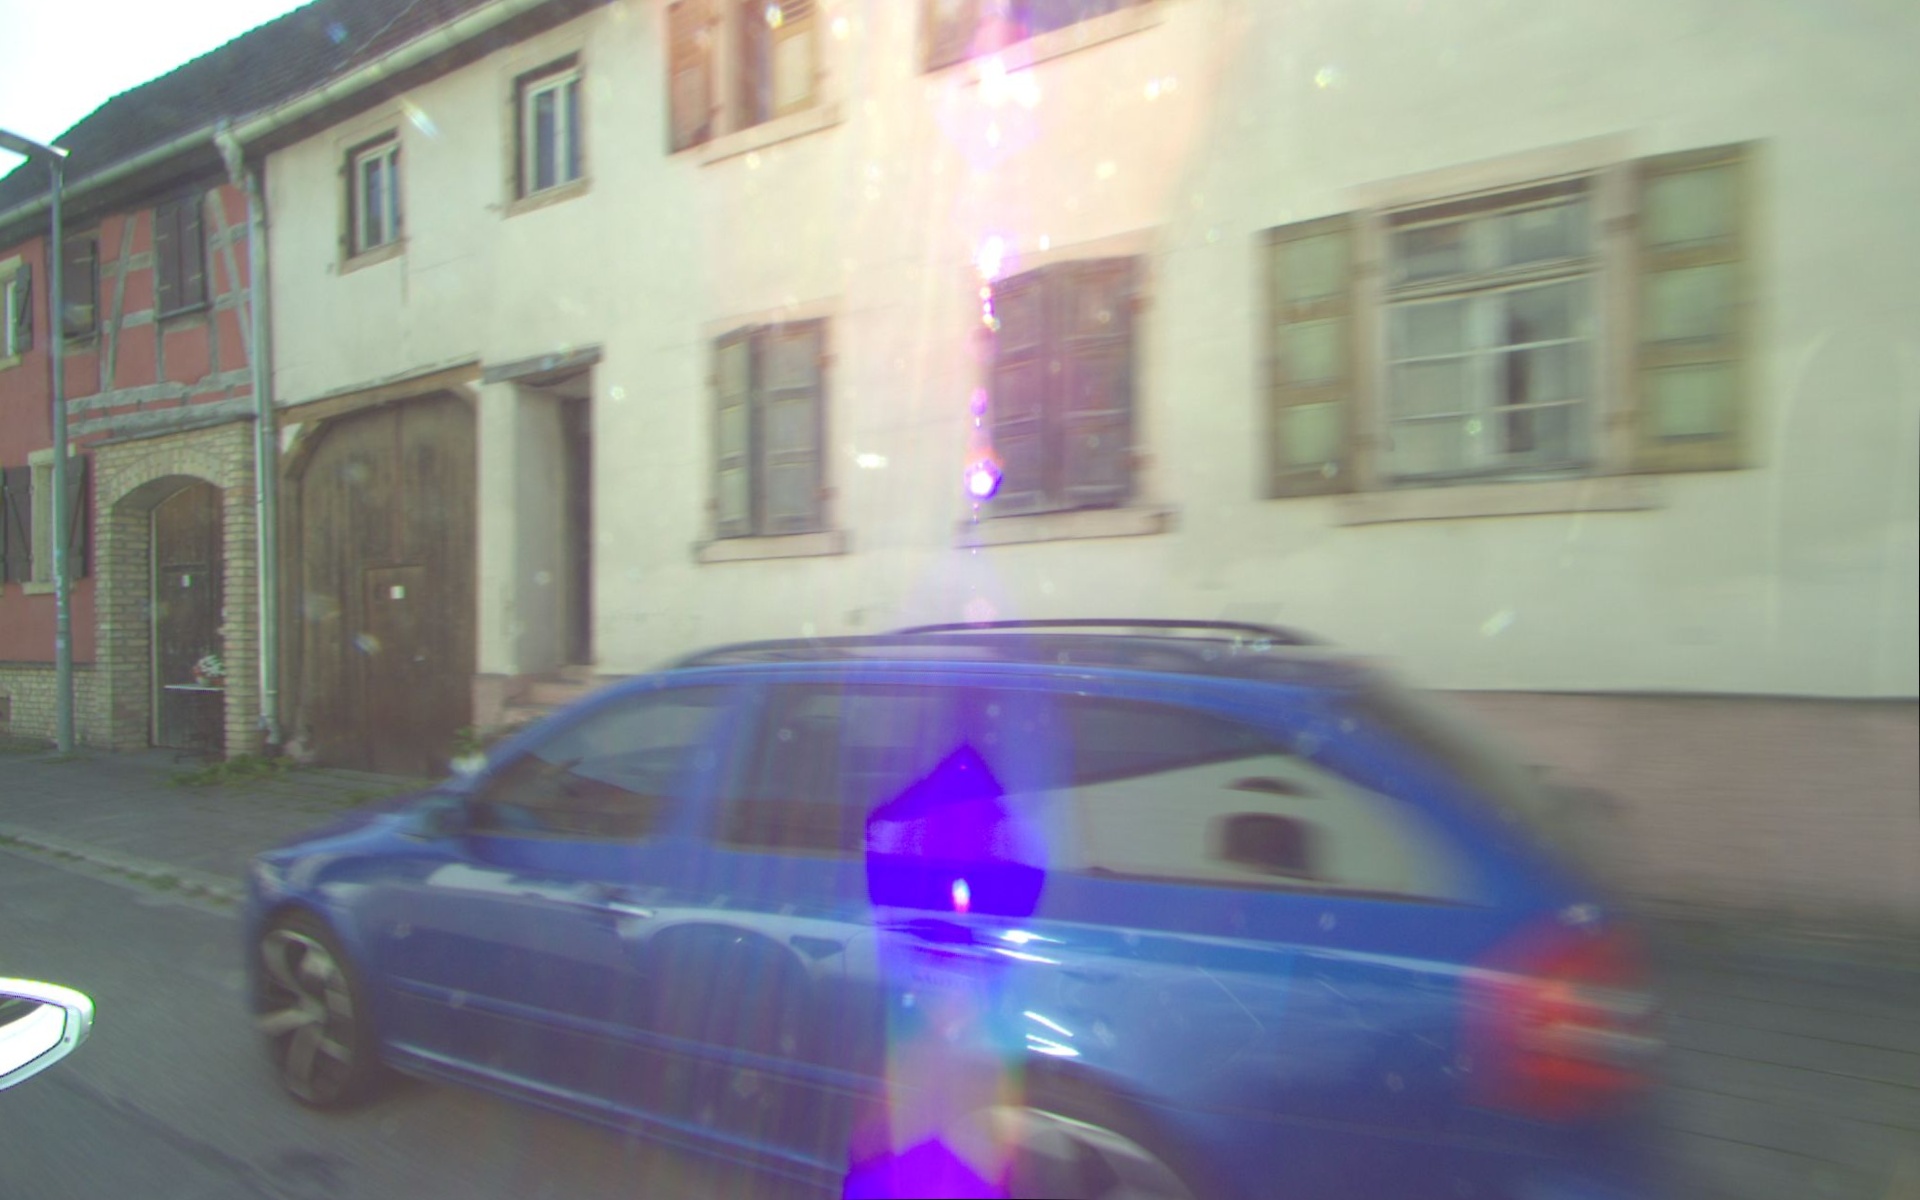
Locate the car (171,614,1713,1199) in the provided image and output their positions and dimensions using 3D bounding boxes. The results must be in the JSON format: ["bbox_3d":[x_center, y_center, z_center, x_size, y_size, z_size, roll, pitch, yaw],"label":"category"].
[{"bbox_3d":[-0.442,0.810,3.219,4.342,1.489,1.697,-1,0,28],"label":"car"}]
